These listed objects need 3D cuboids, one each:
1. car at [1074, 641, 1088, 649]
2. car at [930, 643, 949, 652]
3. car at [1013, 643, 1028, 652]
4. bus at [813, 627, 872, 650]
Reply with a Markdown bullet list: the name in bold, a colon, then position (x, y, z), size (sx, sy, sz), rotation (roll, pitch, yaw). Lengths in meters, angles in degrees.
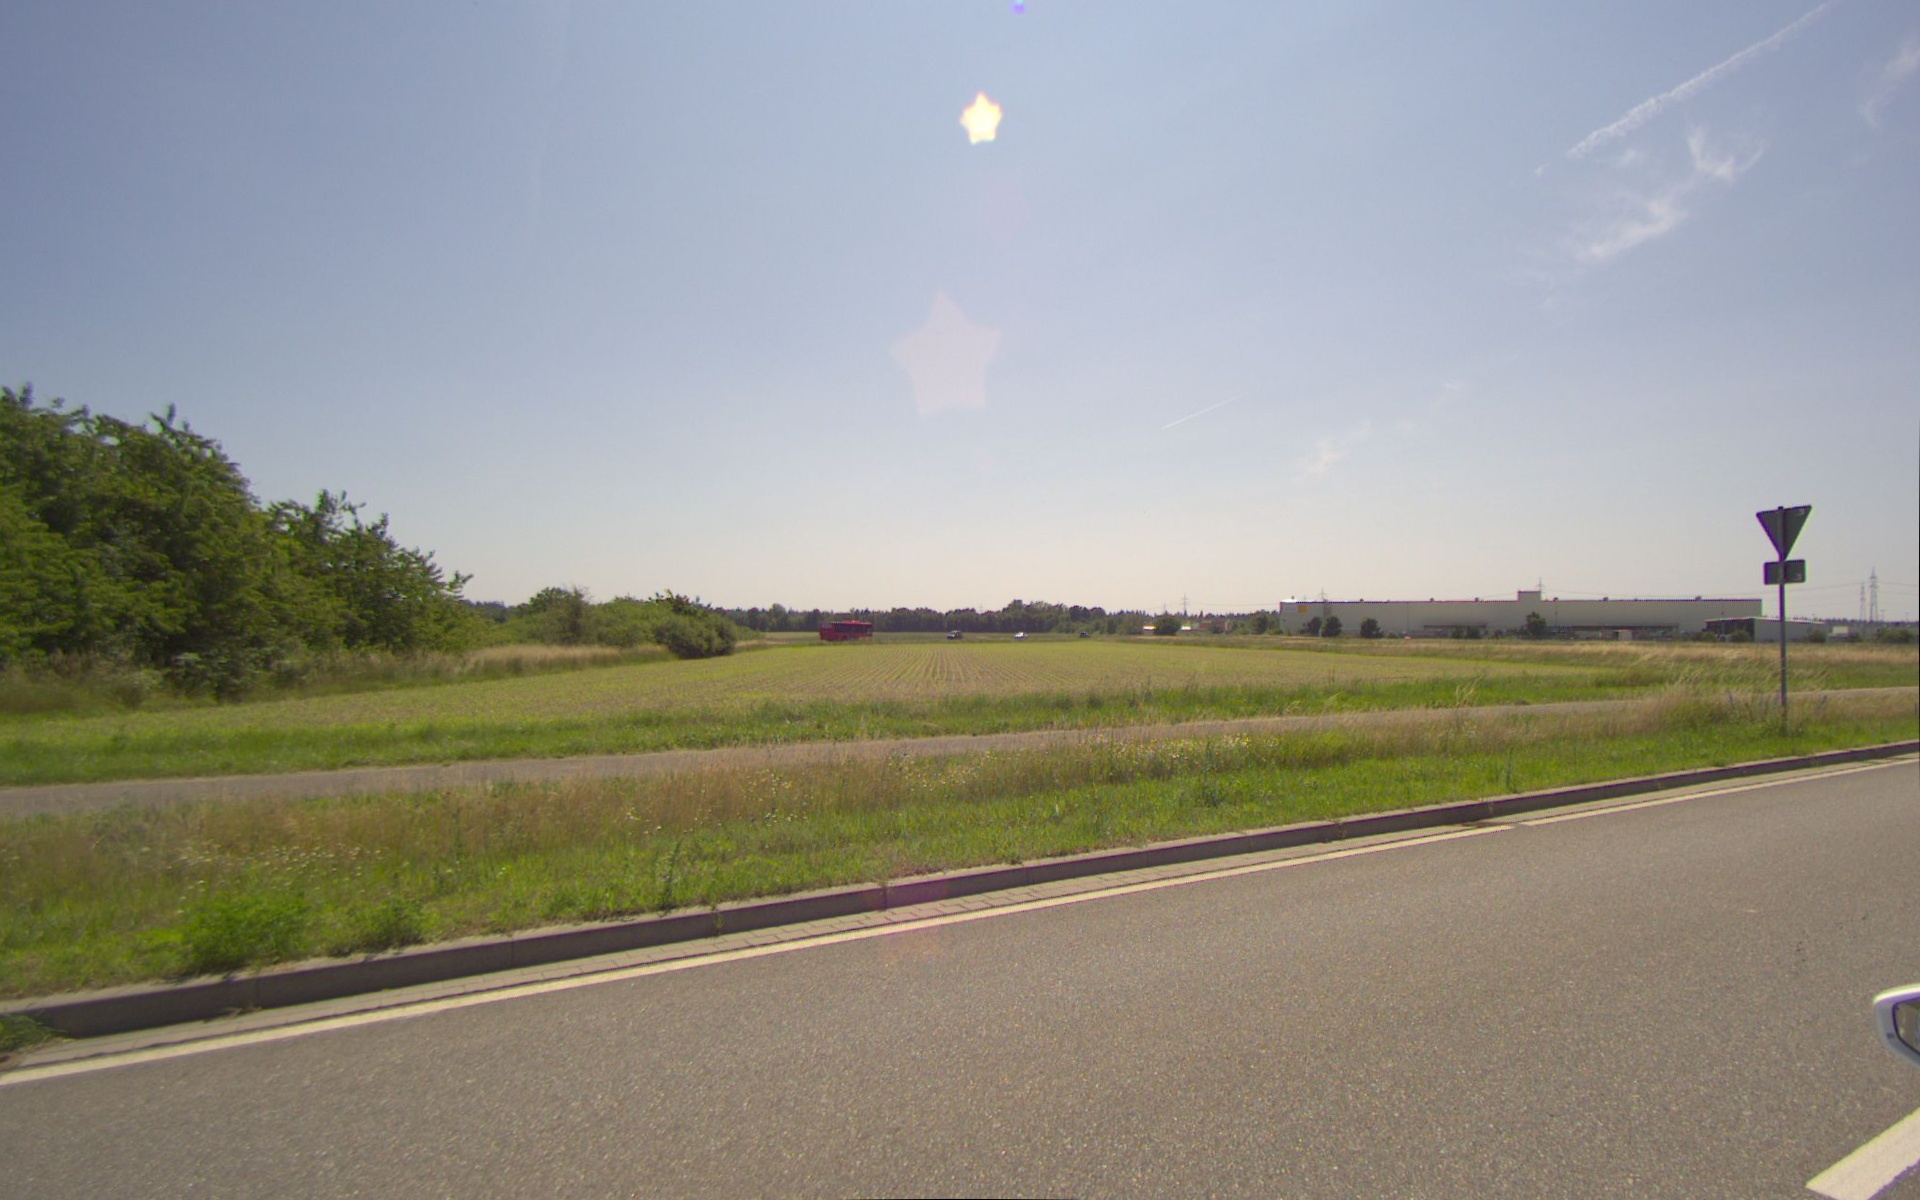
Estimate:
- **car**: position (30.586, 11.387, 254.291), size (1.965, 1.795, 3.991), rotation (-2, -3, 32)
- **car**: position (-3.910, 9.151, 193.012), size (1.963, 1.795, 3.995), rotation (-2, -3, 27)
- **car**: position (13.589, 10.584, 225.539), size (1.964, 1.916, 3.994), rotation (0, -2, 29)
- **bus**: position (-17.997, 5.975, 154.671), size (3.251, 3.352, 11.983), rotation (-1, -2, 25)
